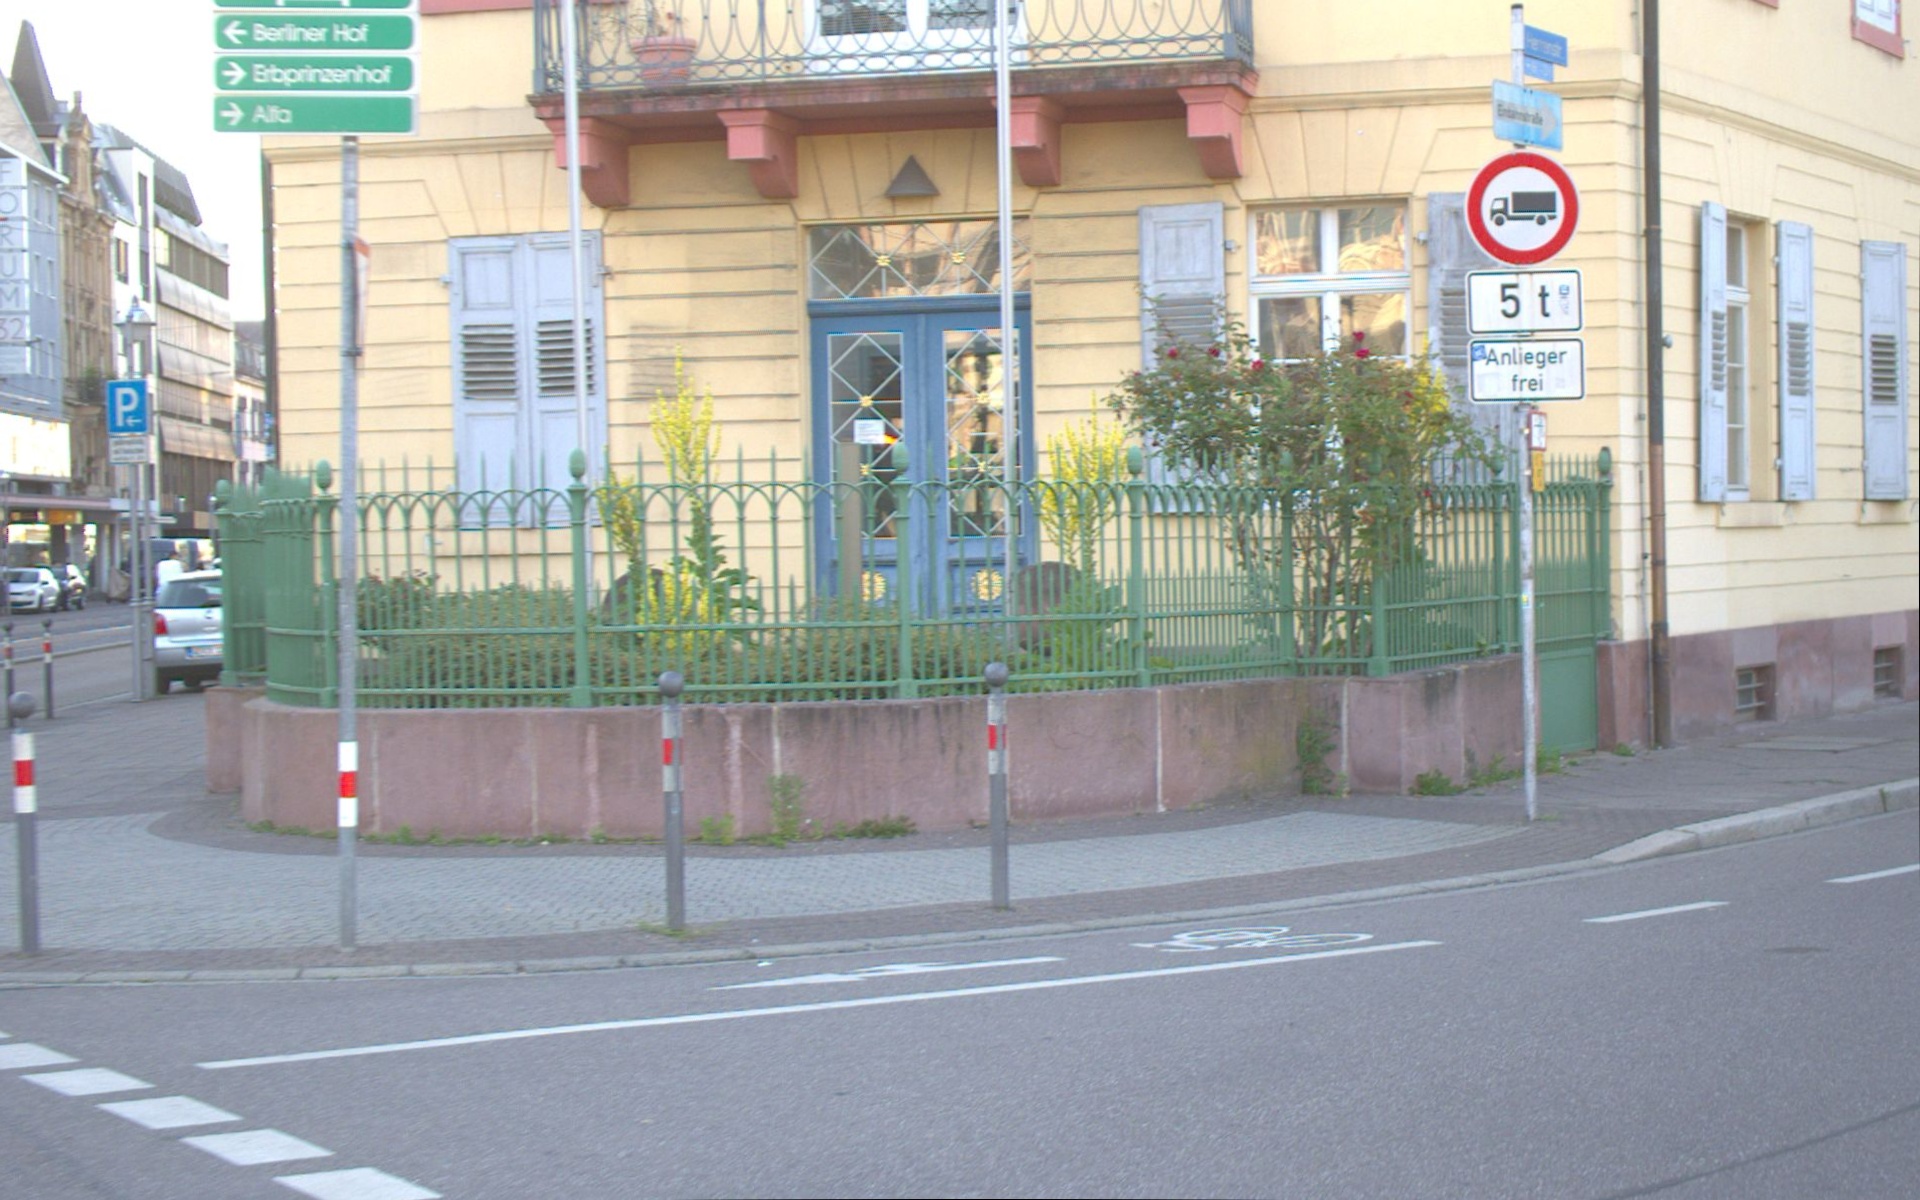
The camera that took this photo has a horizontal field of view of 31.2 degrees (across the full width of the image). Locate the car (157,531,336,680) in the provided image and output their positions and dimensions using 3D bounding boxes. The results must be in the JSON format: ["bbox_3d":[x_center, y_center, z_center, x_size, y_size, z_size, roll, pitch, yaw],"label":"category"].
[{"bbox_3d":[-8.600,0.039,41.679,1.731,1.702,3.440,-1,1,-5],"label":"car"}]

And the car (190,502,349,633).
[{"bbox_3d":[-9.456,-0.453,47.321,1.731,1.702,3.806,-1,1,-5],"label":"car"}]

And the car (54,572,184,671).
[{"bbox_3d":[-16.258,0.392,66.618,1.808,1.802,4.001,-1,1,-5],"label":"car"}]

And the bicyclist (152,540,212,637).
[{"bbox_3d":[-12.747,-0.186,56.363,0.829,1.563,0.787,-1,1,-5],"label":"bicyclist"}]

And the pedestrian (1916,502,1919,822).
[{"bbox_3d":[5.732,0.325,18.541,0.878,1.718,0.828,0,1,35],"label":"pedestrian"}]
